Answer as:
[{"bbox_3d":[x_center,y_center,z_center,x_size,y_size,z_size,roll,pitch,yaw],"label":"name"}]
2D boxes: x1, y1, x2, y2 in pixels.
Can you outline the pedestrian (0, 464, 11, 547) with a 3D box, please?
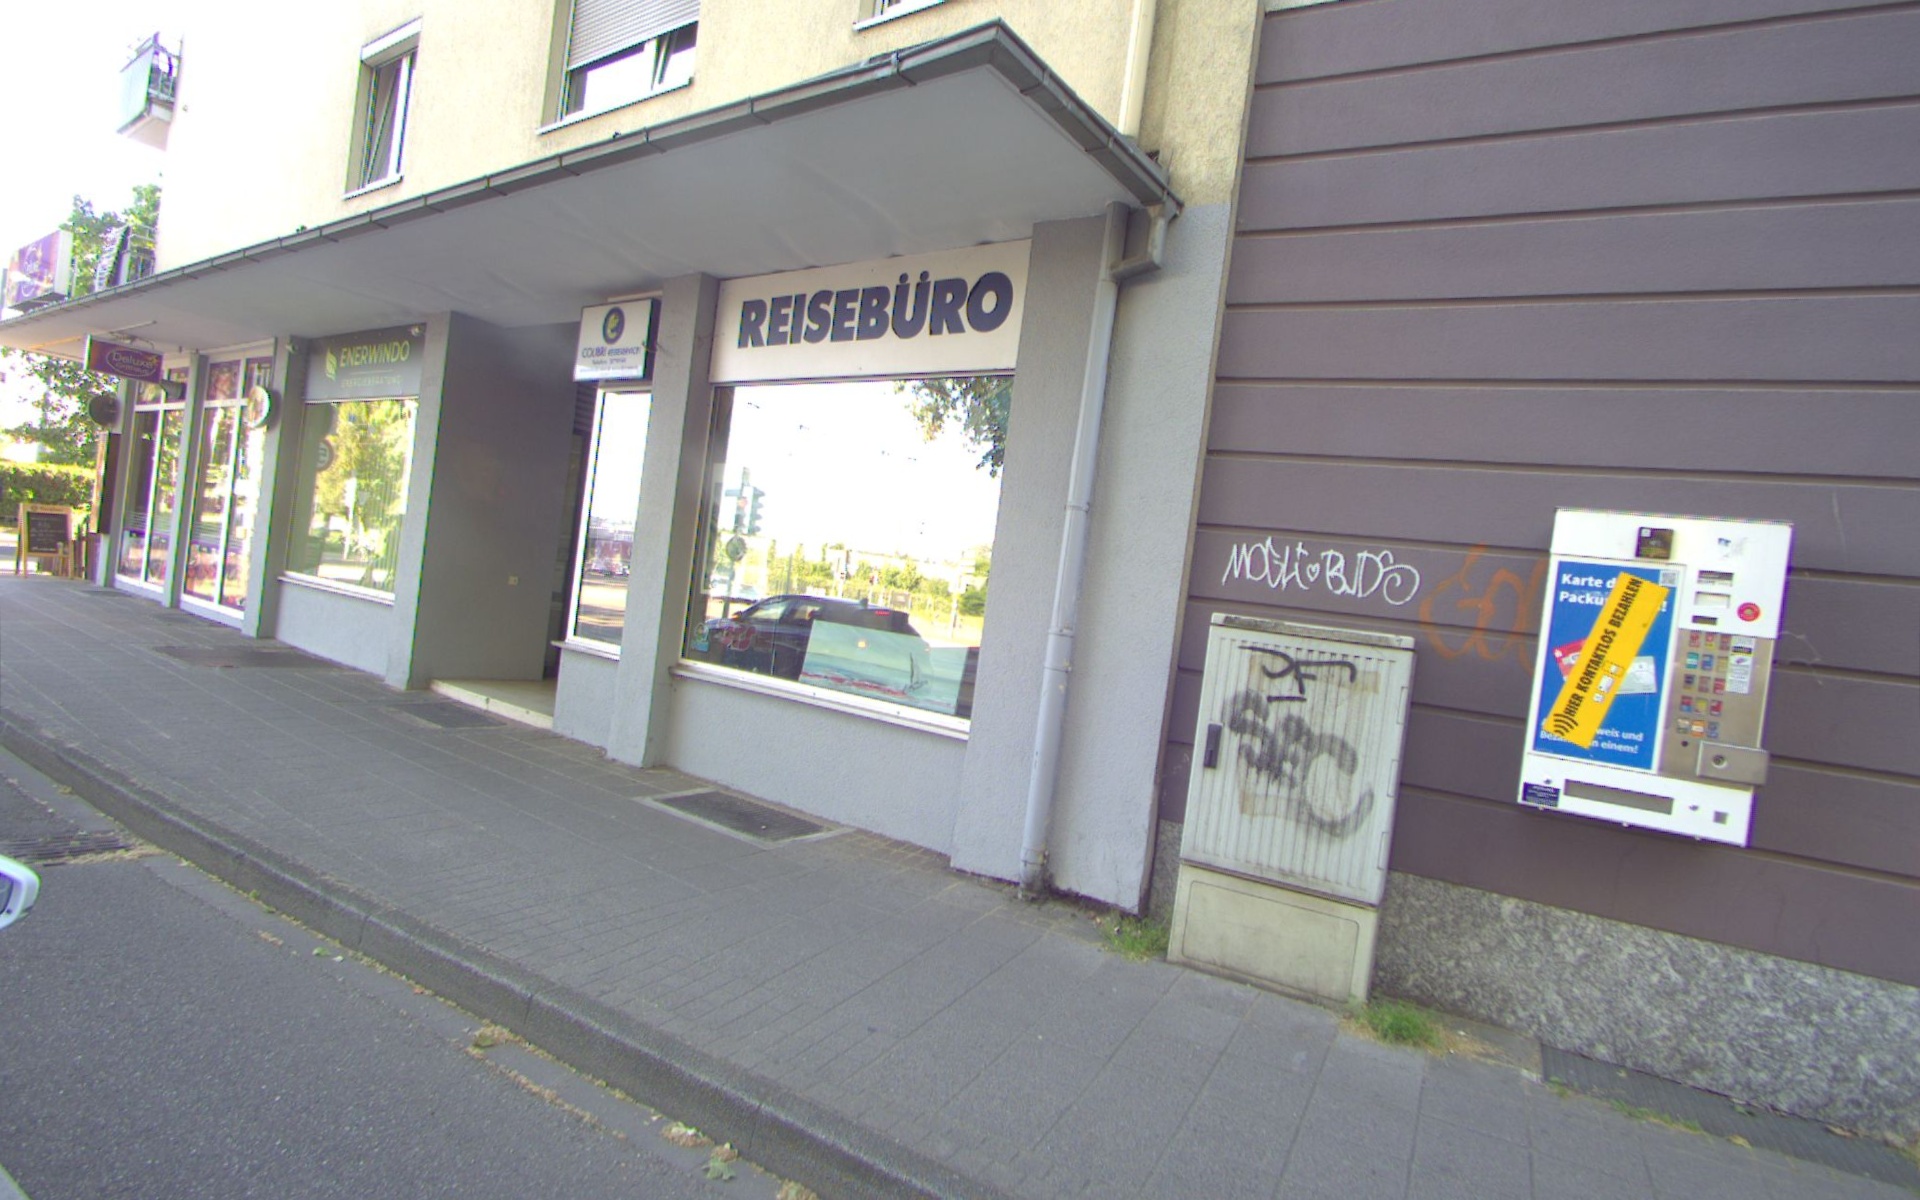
[{"bbox_3d":[-18.976,-1.742,19.473,0.630,1.841,0.738,8,-1,-38],"label":"pedestrian"}]
